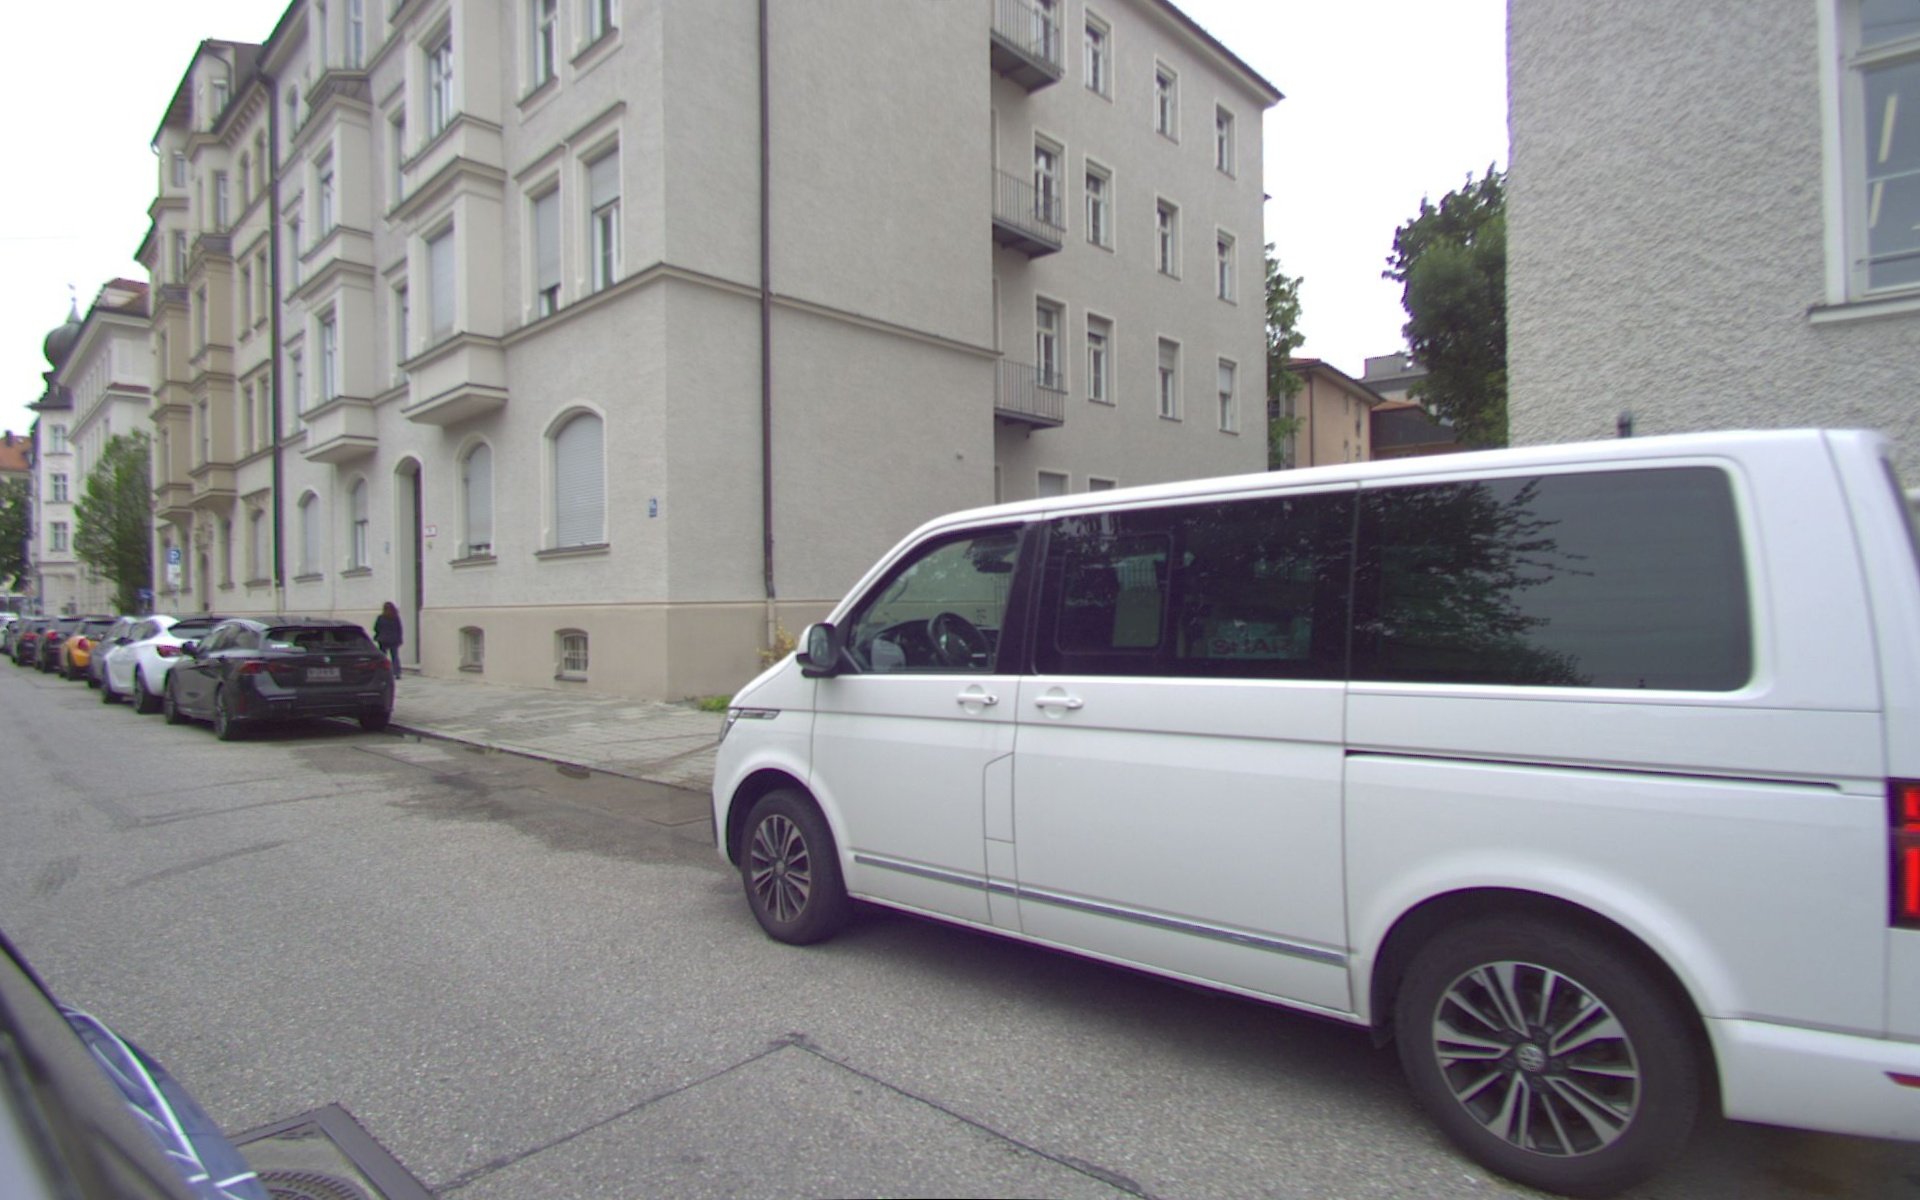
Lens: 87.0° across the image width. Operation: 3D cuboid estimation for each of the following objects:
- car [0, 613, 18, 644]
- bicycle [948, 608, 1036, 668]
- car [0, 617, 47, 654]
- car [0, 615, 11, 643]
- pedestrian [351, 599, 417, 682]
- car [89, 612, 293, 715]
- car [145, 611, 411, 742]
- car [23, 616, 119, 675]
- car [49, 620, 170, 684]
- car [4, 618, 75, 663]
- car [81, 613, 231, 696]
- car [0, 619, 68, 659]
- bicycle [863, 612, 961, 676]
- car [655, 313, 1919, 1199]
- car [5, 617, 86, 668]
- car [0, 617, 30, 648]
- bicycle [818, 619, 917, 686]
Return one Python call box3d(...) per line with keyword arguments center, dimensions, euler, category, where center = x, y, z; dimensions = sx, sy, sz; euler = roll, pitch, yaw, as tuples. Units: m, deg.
box3d(center=(-49.464, 1.449, 51.744), dimensions=(3.689, 1.542, 1.605), euler=(-1, -1, 43), category="car")
box3d(center=(0.540, 0.648, 17.857), dimensions=(0.442, 0.992, 1.782), euler=(-1, 0, -41), category="bicycle")
box3d(center=(-38.446, 1.407, 41.102), dimensions=(3.687, 1.440, 1.606), euler=(-1, -1, 41), category="car")
box3d(center=(-53.375, 1.589, 55.527), dimensions=(3.920, 1.542, 1.605), euler=(-1, -1, 43), category="car")
box3d(center=(-11.692, 0.792, 20.549), dimensions=(1.052, 1.620, 0.864), euler=(-1, 0, 42), category="pedestrian")
box3d(center=(-12.679, 0.939, 16.587), dimensions=(4.377, 1.474, 1.836), euler=(-1, -1, 41), category="car")
box3d(center=(-9.007, 0.881, 13.218), dimensions=(4.377, 1.423, 1.836), euler=(-1, -2, 41), category="car")
box3d(center=(-23.807, 1.163, 27.058), dimensions=(3.942, 1.467, 1.605), euler=(-1, -1, 44), category="car")
box3d(center=(-20.077, 1.154, 23.835), dimensions=(3.730, 1.373, 1.785), euler=(-1, -1, 44), category="car")
box3d(center=(-31.362, 1.350, 34.450), dimensions=(3.590, 1.440, 1.604), euler=(-1, -1, 45), category="car")
box3d(center=(-15.898, 1.000, 19.941), dimensions=(3.938, 1.474, 1.785), euler=(-1, -1, 44), category="car")
box3d(center=(-35.006, 1.432, 38.143), dimensions=(3.687, 1.440, 1.606), euler=(-1, -1, 41), category="car")
box3d(center=(-0.807, 0.701, 16.518), dimensions=(1.779, 0.992, 0.442), euler=(-1, 0, 42), category="bicycle")
box3d(center=(0.958, 0.432, 4.082), dimensions=(4.954, 1.953, 1.837), euler=(-1, -1, 41), category="car")
box3d(center=(-27.956, 1.243, 30.897), dimensions=(3.943, 1.440, 1.604), euler=(-1, -1, 45), category="car")
box3d(center=(-45.871, 1.519, 48.580), dimensions=(3.691, 1.440, 1.604), euler=(-1, -1, 45), category="car")
box3d(center=(-1.470, 0.794, 15.849), dimensions=(1.779, 0.992, 0.442), euler=(-1, 0, 42), category="bicycle")
